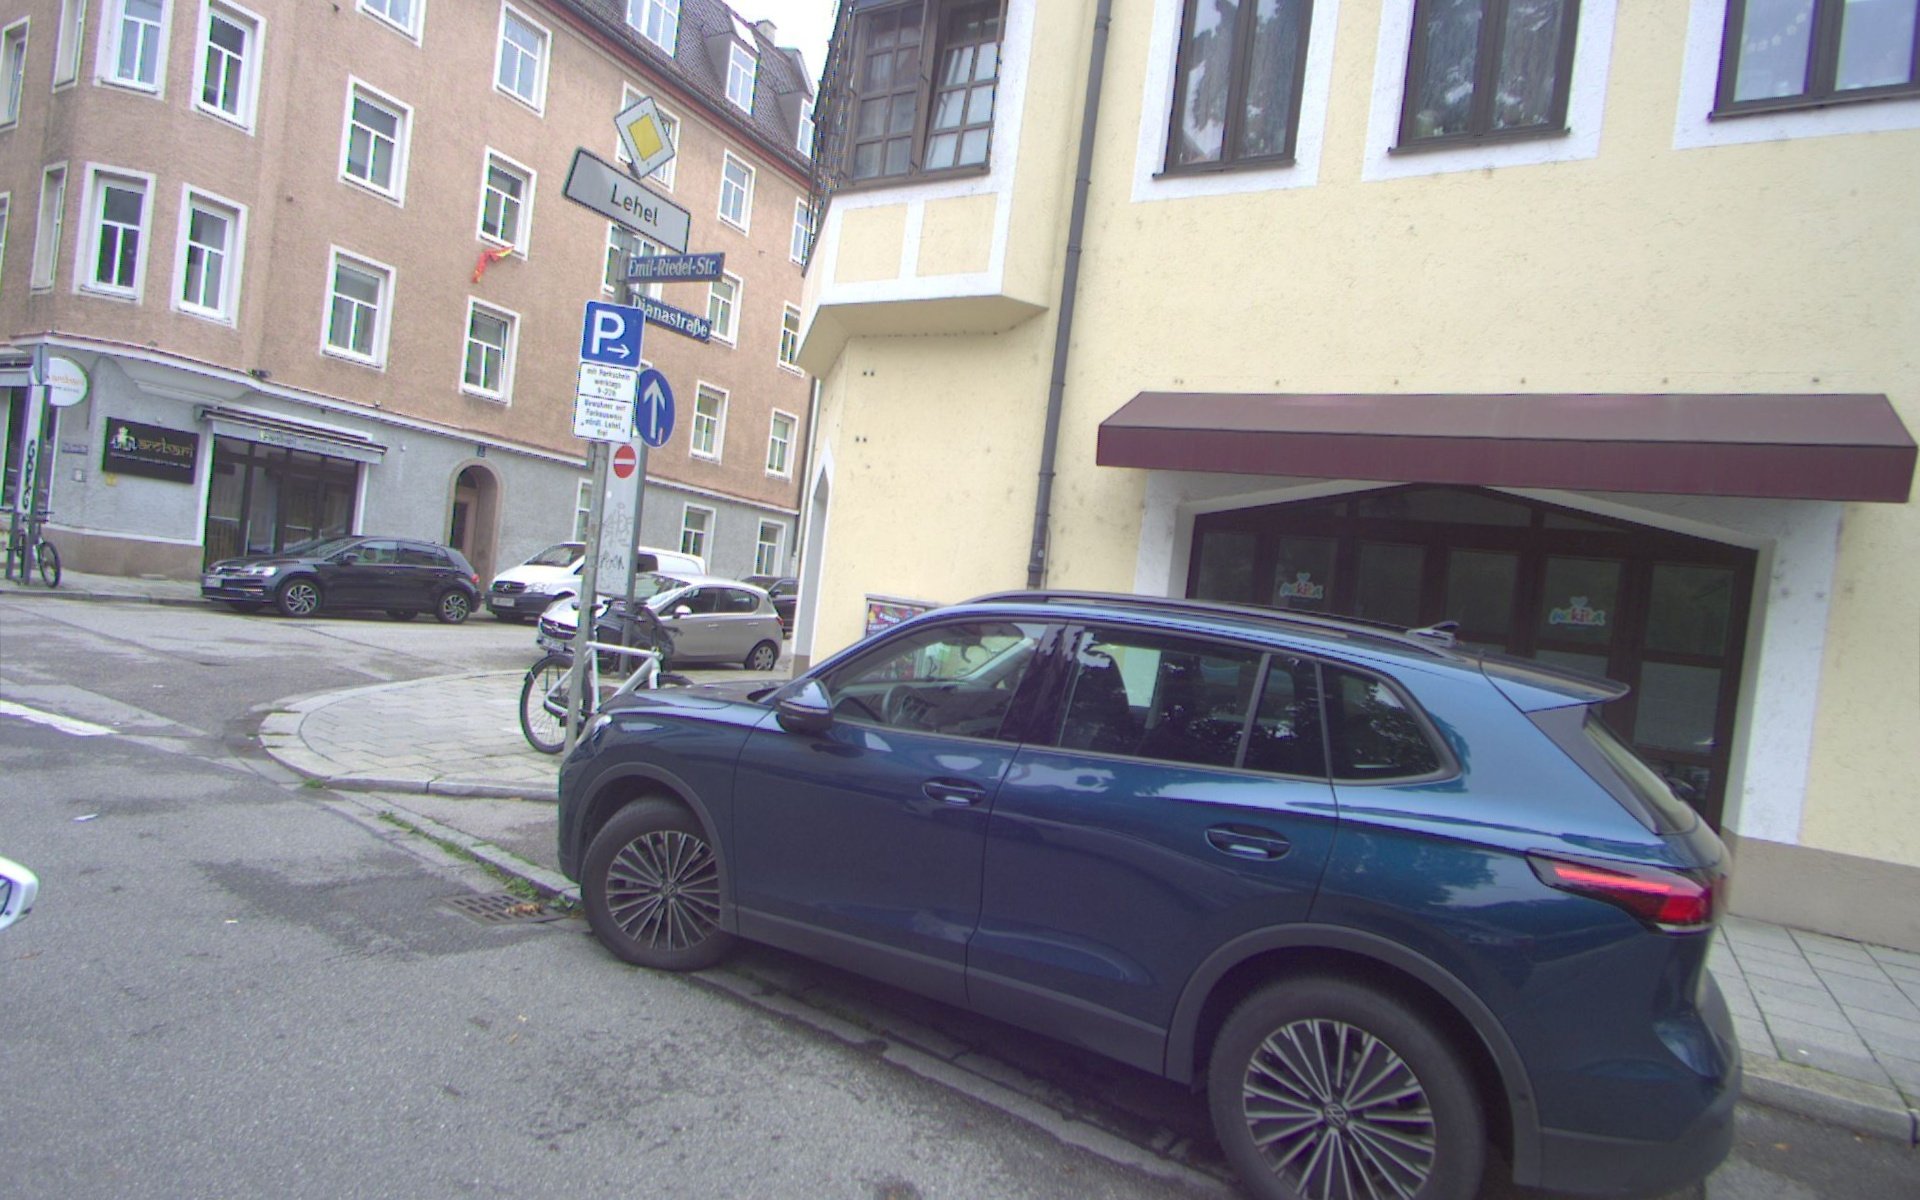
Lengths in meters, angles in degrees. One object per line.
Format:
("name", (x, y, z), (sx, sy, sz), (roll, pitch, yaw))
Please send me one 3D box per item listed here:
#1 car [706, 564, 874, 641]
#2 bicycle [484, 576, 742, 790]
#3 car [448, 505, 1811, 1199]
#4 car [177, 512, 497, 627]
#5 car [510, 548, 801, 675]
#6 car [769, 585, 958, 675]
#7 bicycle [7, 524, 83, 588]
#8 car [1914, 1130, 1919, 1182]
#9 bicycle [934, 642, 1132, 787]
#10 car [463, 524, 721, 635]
("car", (-4.618, 0.128, 28.040), (2.064, 1.707, 4.616), (5, -1, 29))
("bicycle", (-2.534, 0.548, 7.243), (1.962, 1.222, 0.514), (7, 0, 32))
("car", (0.204, 0.705, 3.994), (4.435, 1.701, 1.820), (7, 1, 31))
("car", (-10.402, -0.442, 17.147), (1.893, 1.446, 4.177), (5, -1, 29))
("car", (-4.499, 0.255, 15.455), (1.717, 1.475, 4.042), (9, 1, 31))
("car", (-1.835, 0.654, 20.324), (1.717, 1.394, 3.812), (9, 1, 31))
("bicycle", (-13.940, -0.672, 15.318), (1.304, 0.815, 0.457), (7, 0, 32))
("car", (4.672, 1.219, 1.262), (4.630, 1.701, 1.757), (7, 1, 33))
("bicycle", (0.609, 0.965, 8.750), (1.656, 0.989, 0.271), (7, 0, 30))
("car", (-7.915, -0.354, 22.234), (2.064, 1.876, 5.136), (5, -1, 29))
